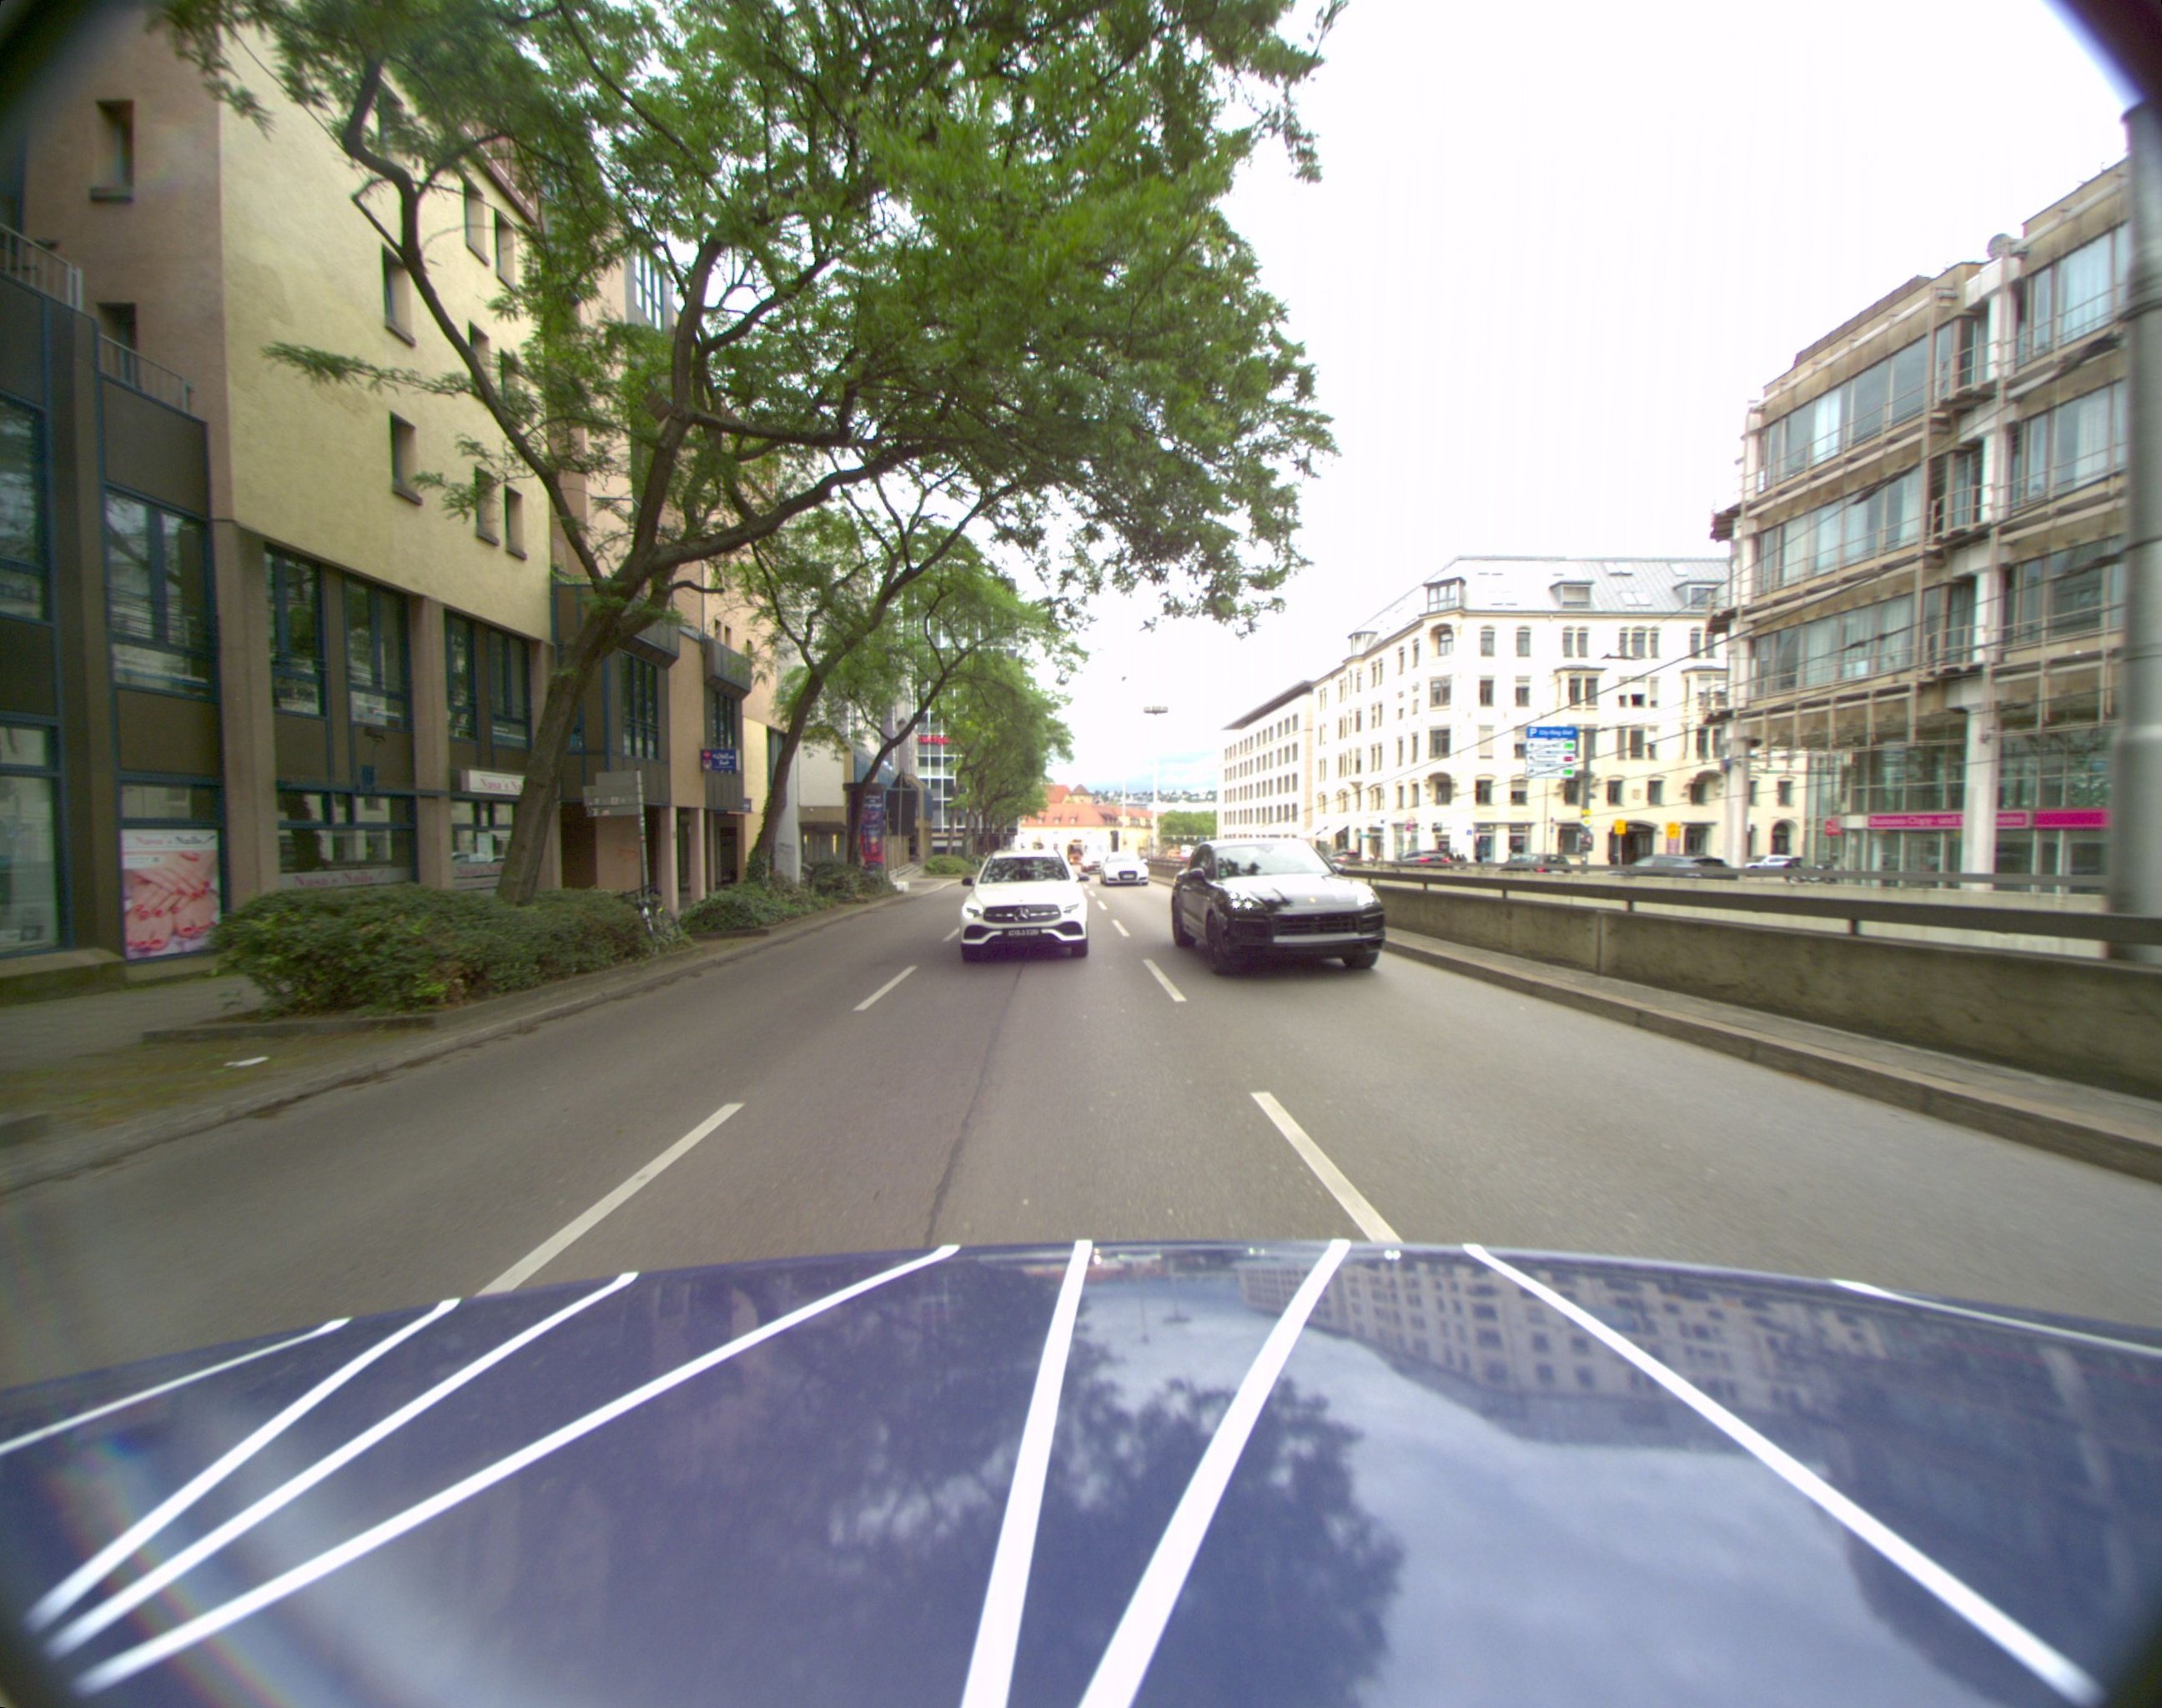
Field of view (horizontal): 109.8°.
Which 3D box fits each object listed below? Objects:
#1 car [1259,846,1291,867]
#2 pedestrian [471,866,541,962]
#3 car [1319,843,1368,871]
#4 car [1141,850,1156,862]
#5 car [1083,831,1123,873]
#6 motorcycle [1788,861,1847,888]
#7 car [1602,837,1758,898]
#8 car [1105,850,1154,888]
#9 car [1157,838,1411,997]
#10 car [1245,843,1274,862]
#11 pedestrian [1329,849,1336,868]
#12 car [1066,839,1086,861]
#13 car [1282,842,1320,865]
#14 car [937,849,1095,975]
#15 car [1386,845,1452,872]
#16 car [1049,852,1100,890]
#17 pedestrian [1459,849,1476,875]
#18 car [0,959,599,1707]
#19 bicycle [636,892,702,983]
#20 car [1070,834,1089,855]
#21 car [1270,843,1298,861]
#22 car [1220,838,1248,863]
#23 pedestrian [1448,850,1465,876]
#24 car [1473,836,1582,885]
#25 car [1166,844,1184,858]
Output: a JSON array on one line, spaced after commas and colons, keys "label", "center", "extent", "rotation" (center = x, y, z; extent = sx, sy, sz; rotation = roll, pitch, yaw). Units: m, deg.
[{"label": "car", "center": [20.058, 0.210, 78.837], "extent": [1.999, 2.002, 4.789], "rotation": [-2, 1, -1]}, {"label": "pedestrian", "center": [-10.512, 1.077, 13.914], "extent": [0.711, 1.701, 0.688], "rotation": [-1, 0, 5]}, {"label": "car", "center": [20.218, 0.189, 58.679], "extent": [1.999, 2.002, 4.789], "rotation": [-2, 1, -1]}, {"label": "car", "center": [11.522, 0.279, 130.732], "extent": [1.999, 2.002, 4.789], "rotation": [-2, 1, -1]}, {"label": "car", "center": [1.585, -0.192, 52.530], "extent": [2.293, 2.723, 4.755], "rotation": [-2, 1, 6]}, {"label": "motorcycle", "center": [30.900, 0.848, 31.893], "extent": [0.645, 1.069, 1.670], "rotation": [-2, 1, -21]}, {"label": "car", "center": [20.919, 0.399, 26.817], "extent": [1.999, 1.903, 4.377], "rotation": [-2, 2, -1]}, {"label": "car", "center": [2.102, 0.607, 33.863], "extent": [1.949, 1.521, 4.000], "rotation": [-2, 1, 1]}, {"label": "car", "center": [2.473, 0.686, 10.917], "extent": [2.088, 1.665, 5.351], "rotation": [-2, 0, -1]}, {"label": "car", "center": [20.009, -0.199, 85.386], "extent": [1.999, 2.002, 4.789], "rotation": [-2, 1, -1]}, {"label": "pedestrian", "center": [23.003, 0.392, 69.477], "extent": [0.510, 1.769, 0.578], "rotation": [0, 1, 23]}, {"label": "car", "center": [-0.614, -0.562, 99.225], "extent": [2.503, 2.793, 5.727], "rotation": [-2, 1, 0]}, {"label": "car", "center": [20.299, -0.045, 70.251], "extent": [1.999, 2.002, 4.789], "rotation": [-2, 1, -1]}, {"label": "car", "center": [-0.903, 0.765, 12.131], "extent": [2.060, 1.599, 3.926], "rotation": [-2, 1, -1]}, {"label": "car", "center": [20.527, 0.243, 46.328], "extent": [1.818, 1.551, 4.641], "rotation": [0, 1, -2]}, {"label": "car", "center": [-0.286, 0.640, 31.191], "extent": [1.890, 1.378, 4.609], "rotation": [-2, 1, -1]}, {"label": "pedestrian", "center": [25.884, 0.545, 50.884], "extent": [0.712, 1.701, 0.687], "rotation": [-1, 0, -12]}, {"label": "car", "center": [-2.780, 1.178, 0.670], "extent": [1.949, 1.521, 4.000], "rotation": [-2, 1, 3]}, {"label": "bicycle", "center": [-6.170, 1.208, 11.433], "extent": [0.362, 1.194, 1.569], "rotation": [0, 1, -9]}, {"label": "car", "center": [-0.201, -1.276, 106.768], "extent": [2.503, 2.793, 5.727], "rotation": [-2, 1, 0]}, {"label": "car", "center": [23.207, -0.220, 86.972], "extent": [1.999, 2.002, 3.999], "rotation": [0, 0, -1]}, {"label": "car", "center": [19.633, -0.442, 97.691], "extent": [2.370, 3.043, 5.468], "rotation": [-2, 1, -1]}, {"label": "pedestrian", "center": [24.928, 0.581, 50.478], "extent": [0.712, 1.701, 0.687], "rotation": [-1, 0, -12]}, {"label": "car", "center": [20.518, 0.257, 35.176], "extent": [1.999, 1.952, 4.788], "rotation": [-4, 1, -2]}, {"label": "car", "center": [15.029, -0.511, 121.978], "extent": [2.115, 2.002, 4.789], "rotation": [-2, 1, -2]}]
